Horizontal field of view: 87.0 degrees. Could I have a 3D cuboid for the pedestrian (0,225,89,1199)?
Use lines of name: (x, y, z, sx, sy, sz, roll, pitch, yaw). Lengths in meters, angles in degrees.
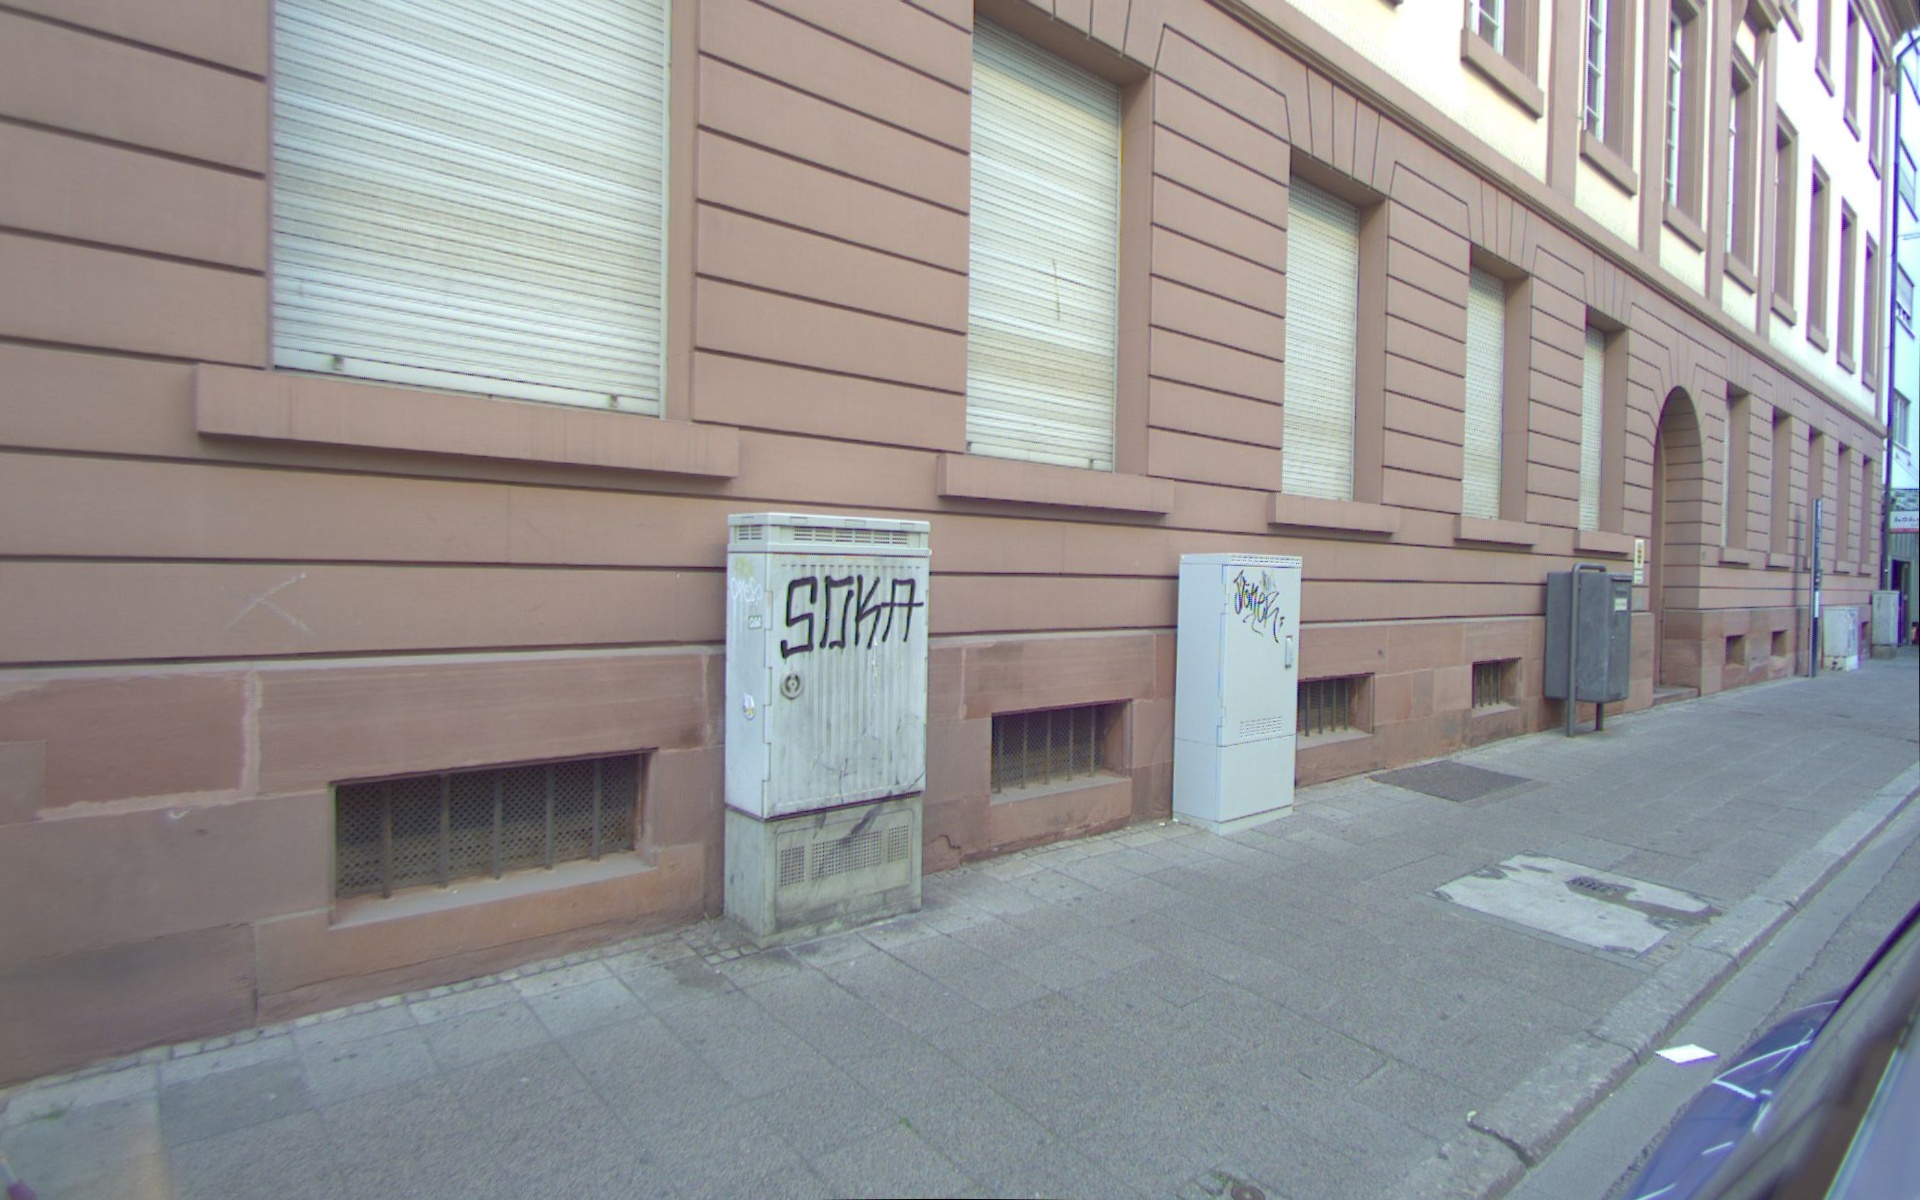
pedestrian: (-2.026, 0.337, 1.607, 0.880, 1.825, 0.848, 0, 4, -35)
